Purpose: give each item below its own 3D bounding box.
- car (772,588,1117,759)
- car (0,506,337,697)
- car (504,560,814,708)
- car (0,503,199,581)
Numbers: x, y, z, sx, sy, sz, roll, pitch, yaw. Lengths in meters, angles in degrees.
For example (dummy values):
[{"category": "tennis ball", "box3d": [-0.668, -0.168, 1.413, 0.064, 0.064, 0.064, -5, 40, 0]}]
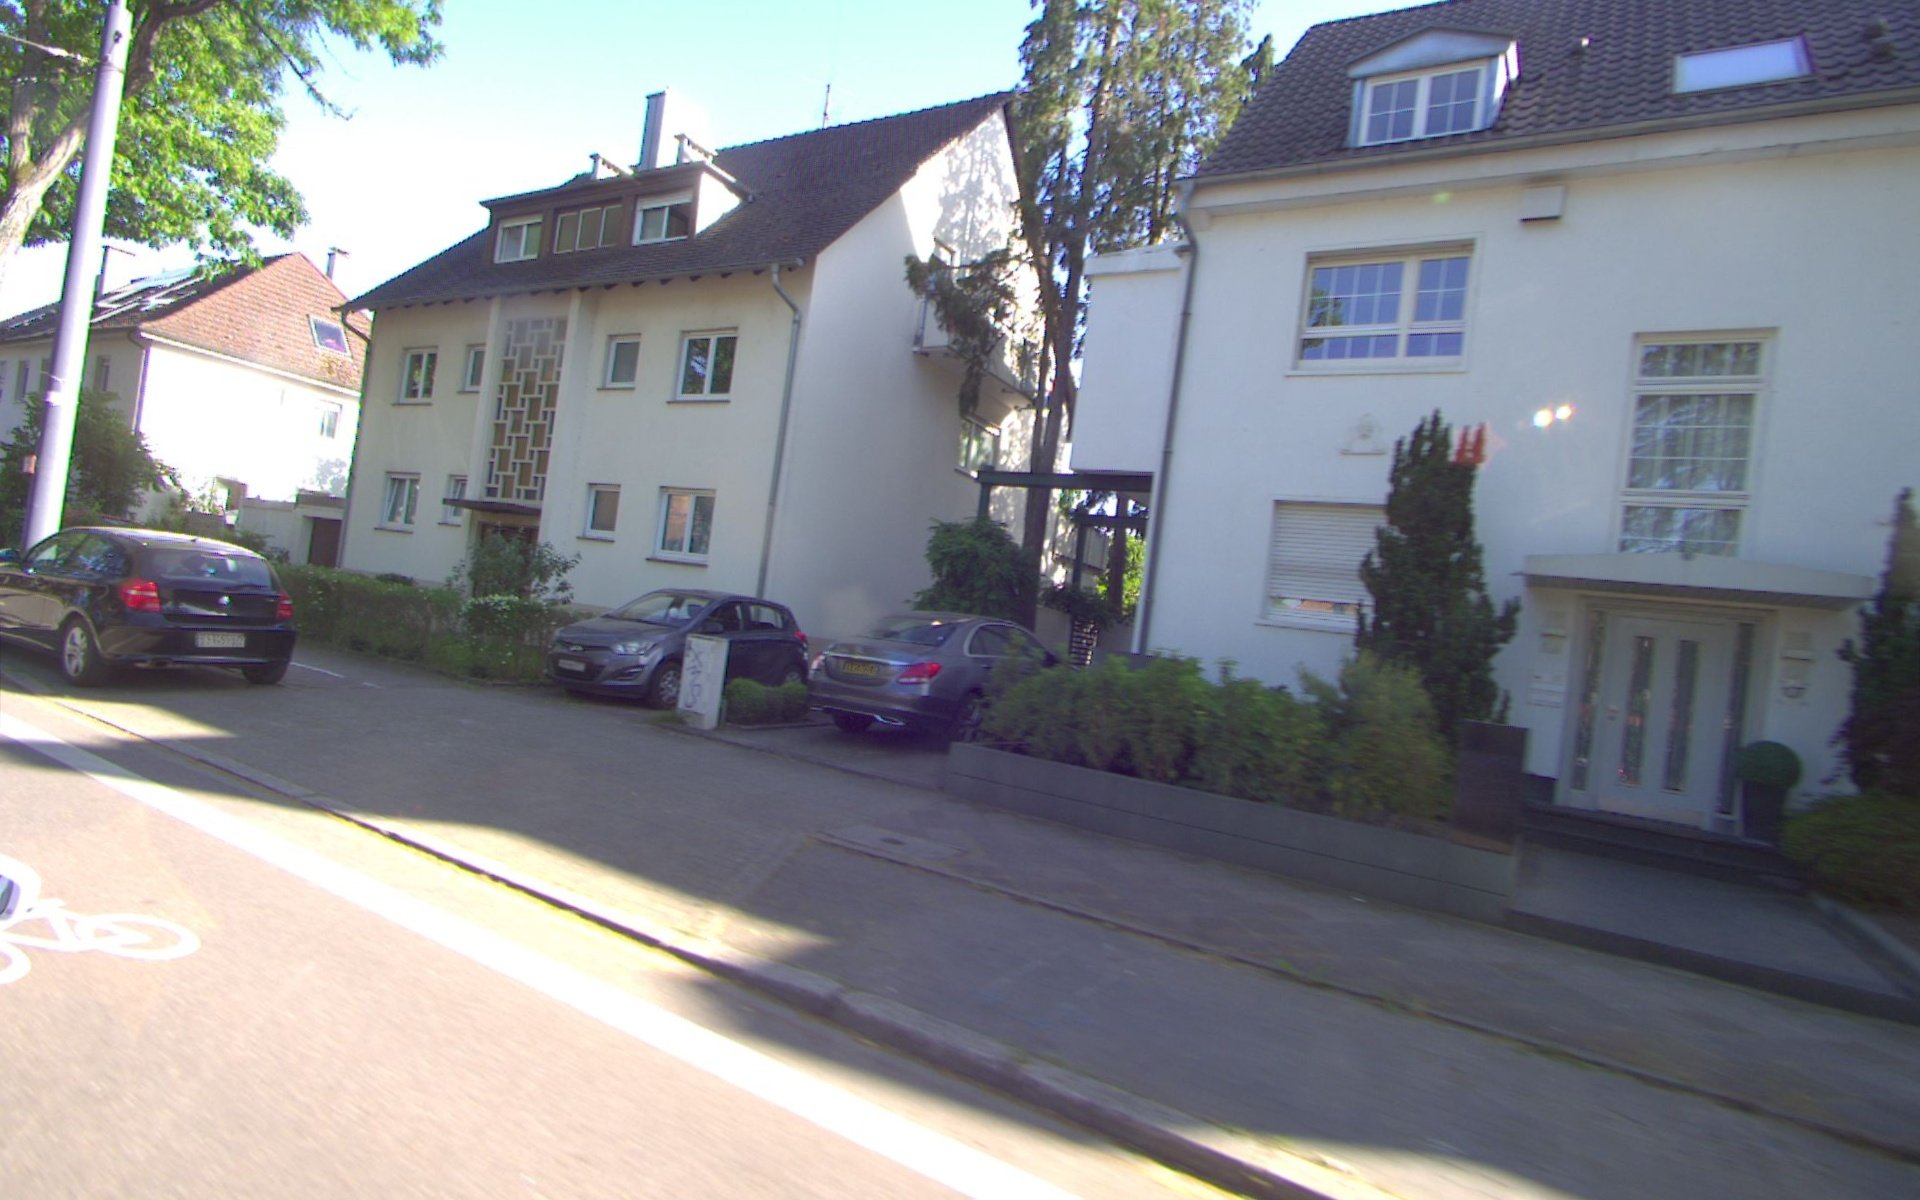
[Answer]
[{"category": "car", "box3d": [0.037, 0.852, 12.071, 1.828, 1.508, 4.423, 7, 0, 34]}, {"category": "car", "box3d": [-8.616, -0.067, 10.437, 4.228, 1.467, 1.786, 7, 1, 30]}, {"category": "car", "box3d": [-3.772, 0.503, 13.266, 1.709, 1.507, 3.748, 7, -1, 26]}, {"category": "car", "box3d": [-21.686, -1.409, 25.473, 1.702, 1.453, 3.410, 7, -1, 18]}]
